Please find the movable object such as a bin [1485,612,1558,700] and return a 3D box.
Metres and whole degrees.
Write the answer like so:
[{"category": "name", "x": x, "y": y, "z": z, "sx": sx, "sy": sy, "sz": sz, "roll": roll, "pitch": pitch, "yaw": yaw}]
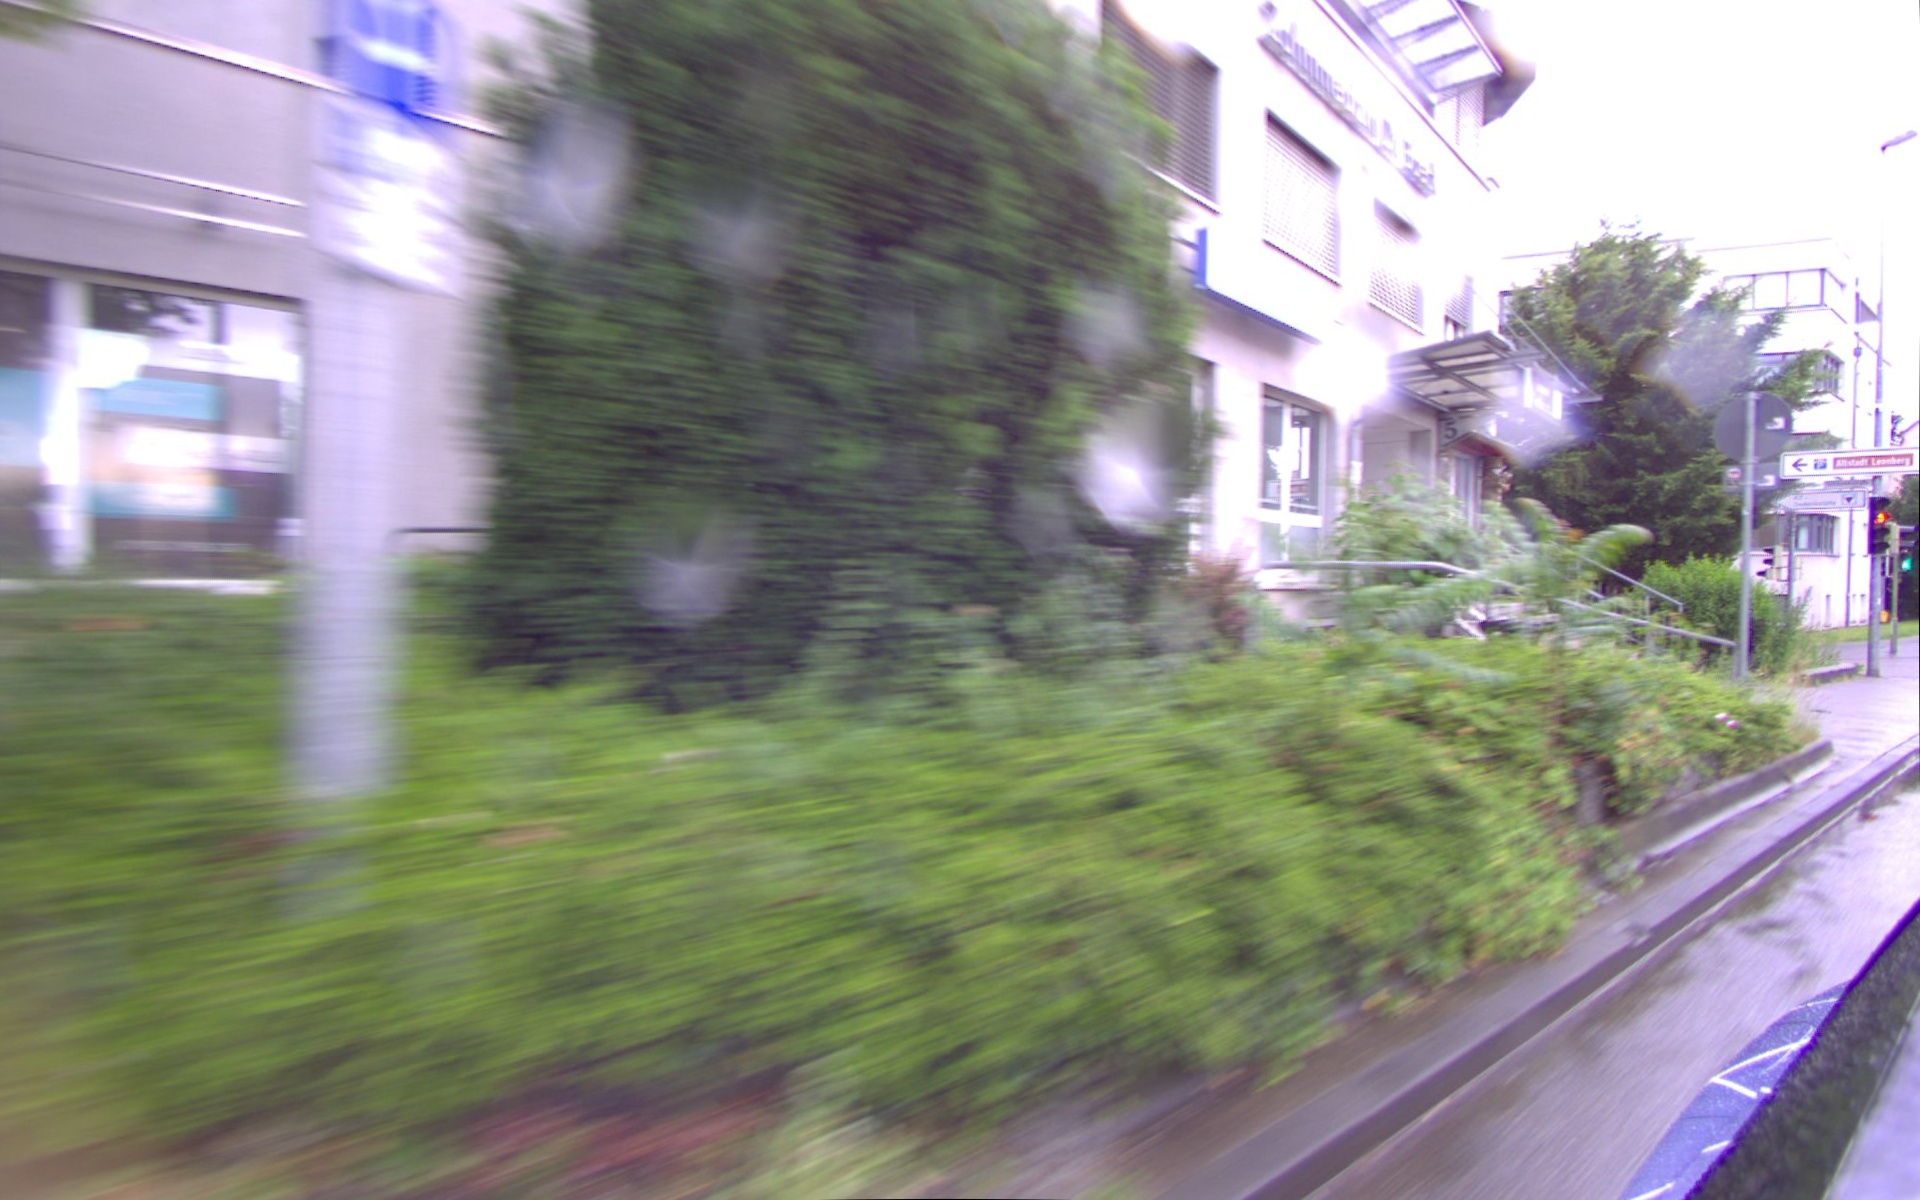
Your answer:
[{"category": "movable object such as a bin", "x": 6.157, "y": 0.611, "z": 11.106, "sx": 0.482, "sy": 0.921, "sz": 0.484, "roll": 4, "pitch": -2, "yaw": -29}]
